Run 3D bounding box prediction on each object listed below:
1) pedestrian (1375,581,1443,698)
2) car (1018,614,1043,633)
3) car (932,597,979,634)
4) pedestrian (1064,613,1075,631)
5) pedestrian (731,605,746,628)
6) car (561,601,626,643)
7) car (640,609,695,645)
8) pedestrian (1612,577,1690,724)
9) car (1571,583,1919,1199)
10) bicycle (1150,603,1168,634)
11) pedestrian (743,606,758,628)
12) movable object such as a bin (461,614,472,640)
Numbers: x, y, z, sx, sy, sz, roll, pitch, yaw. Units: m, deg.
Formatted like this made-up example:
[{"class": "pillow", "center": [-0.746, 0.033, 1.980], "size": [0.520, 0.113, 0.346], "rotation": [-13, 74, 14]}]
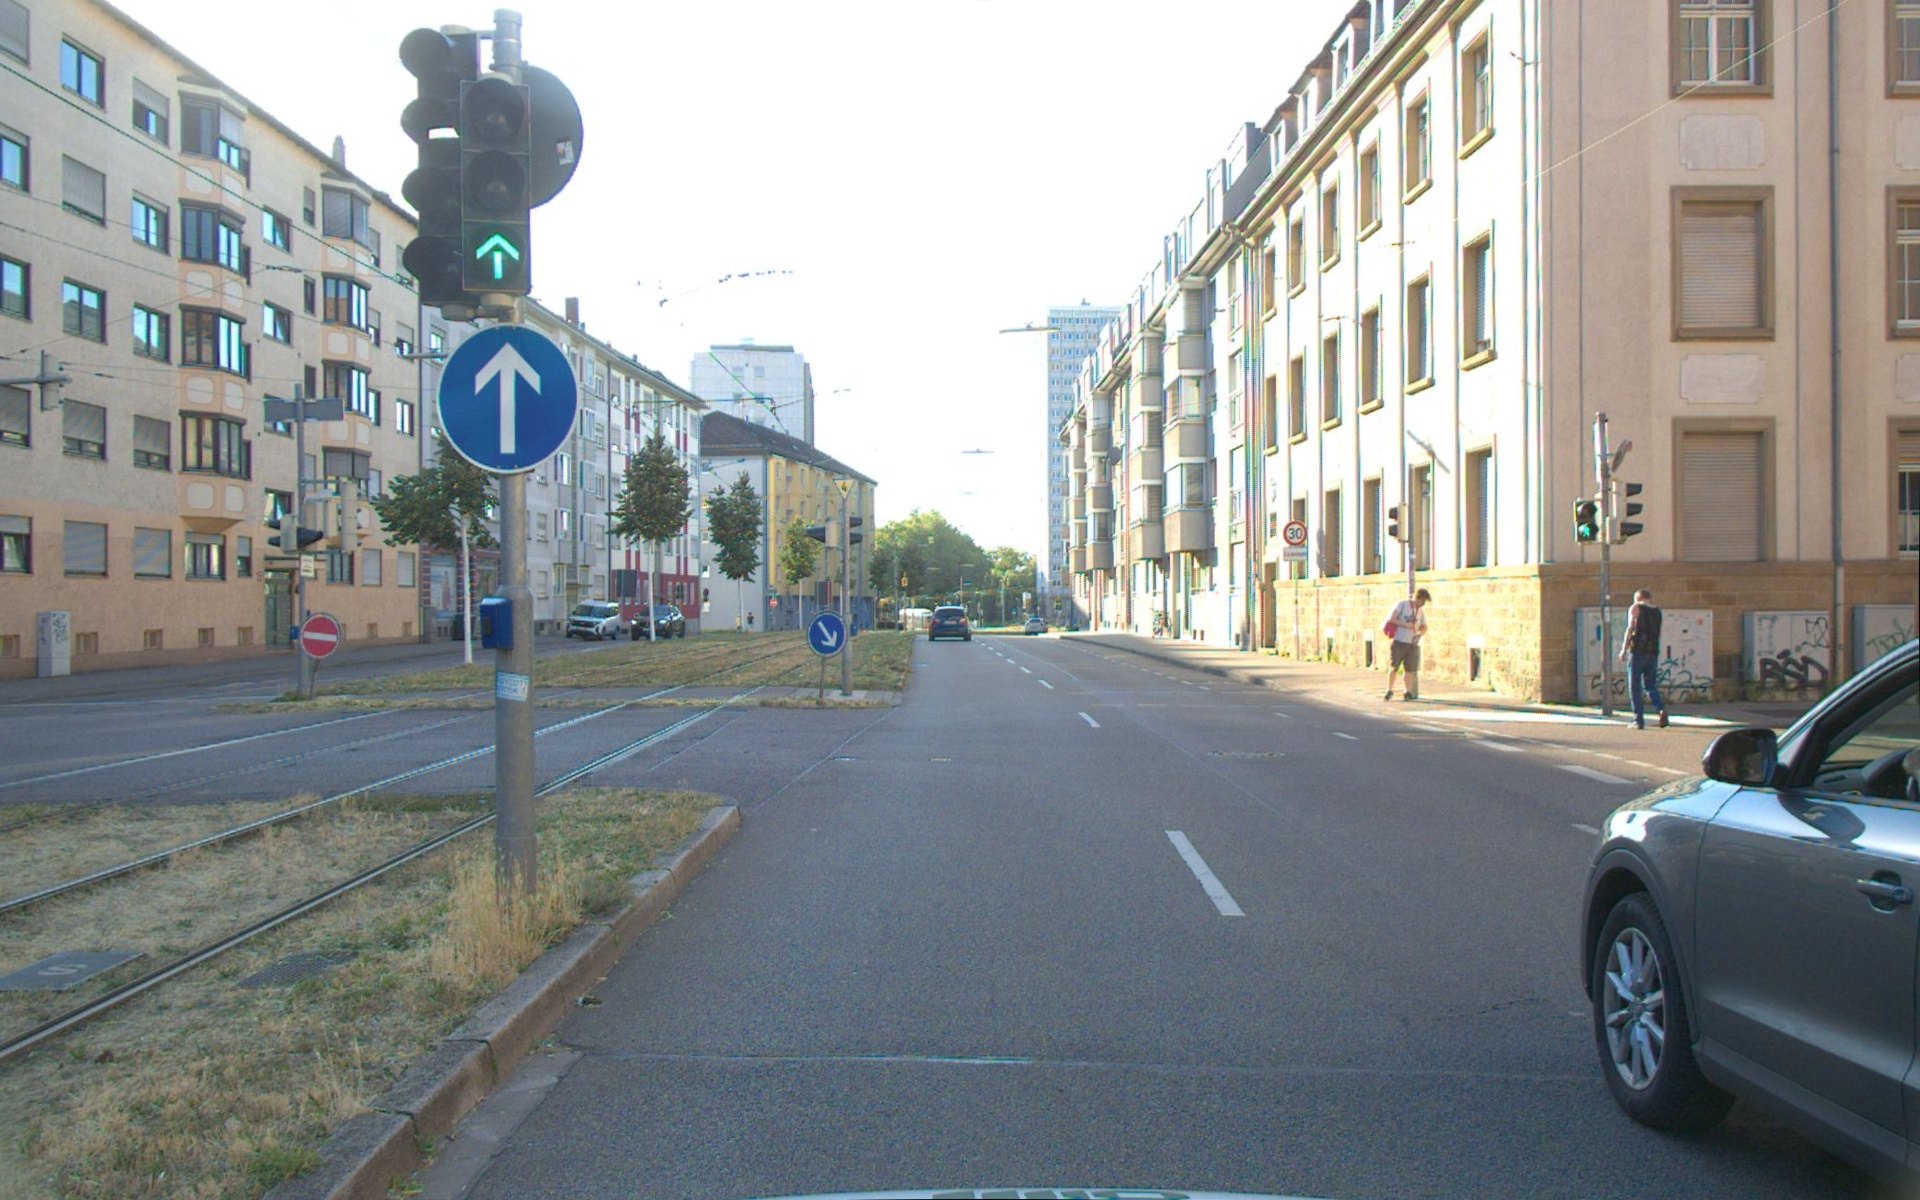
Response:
[{"class": "pedestrian", "center": [7.000, 0.608, 25.833], "size": [0.818, 1.793, 0.823], "rotation": [1, -1, -1]}, {"class": "car", "center": [6.100, 2.009, 142.983], "size": [1.952, 1.591, 4.000], "rotation": [1, -1, 0]}, {"class": "car", "center": [-0.194, 0.670, 69.794], "size": [1.887, 1.482, 4.327], "rotation": [1, -1, 0]}, {"class": "pedestrian", "center": [7.693, 1.523, 116.260], "size": [0.677, 1.256, 0.736], "rotation": [1, -1, 0]}, {"class": "pedestrian", "center": [-17.211, 1.285, 128.434], "size": [0.942, 1.723, 1.011], "rotation": [1, -1, 4]}, {"class": "car", "center": [-17.852, 1.062, 80.751], "size": [1.952, 1.959, 4.543], "rotation": [1, -1, 3]}, {"class": "car", "center": [-14.249, 1.303, 80.923], "size": [1.858, 1.662, 4.746], "rotation": [-1, 0, 0]}, {"class": "pedestrian", "center": [8.601, 0.624, 20.614], "size": [0.616, 1.789, 0.825], "rotation": [1, -1, -1]}, {"class": "car", "center": [2.865, 0.761, 3.380], "size": [1.663, 1.580, 4.225], "rotation": [1, 0, 0]}, {"class": "bicycle", "center": [7.417, 0.688, 61.684], "size": [0.376, 1.115, 1.503], "rotation": [-1, -1, -3]}, {"class": "pedestrian", "center": [-16.366, 1.304, 128.978], "size": [0.942, 1.699, 1.011], "rotation": [1, -1, 4]}, {"class": "movable object such as a bin", "center": [-20.164, 1.089, 67.597], "size": [0.292, 1.055, 0.441], "rotation": [1, -1, -2]}]
